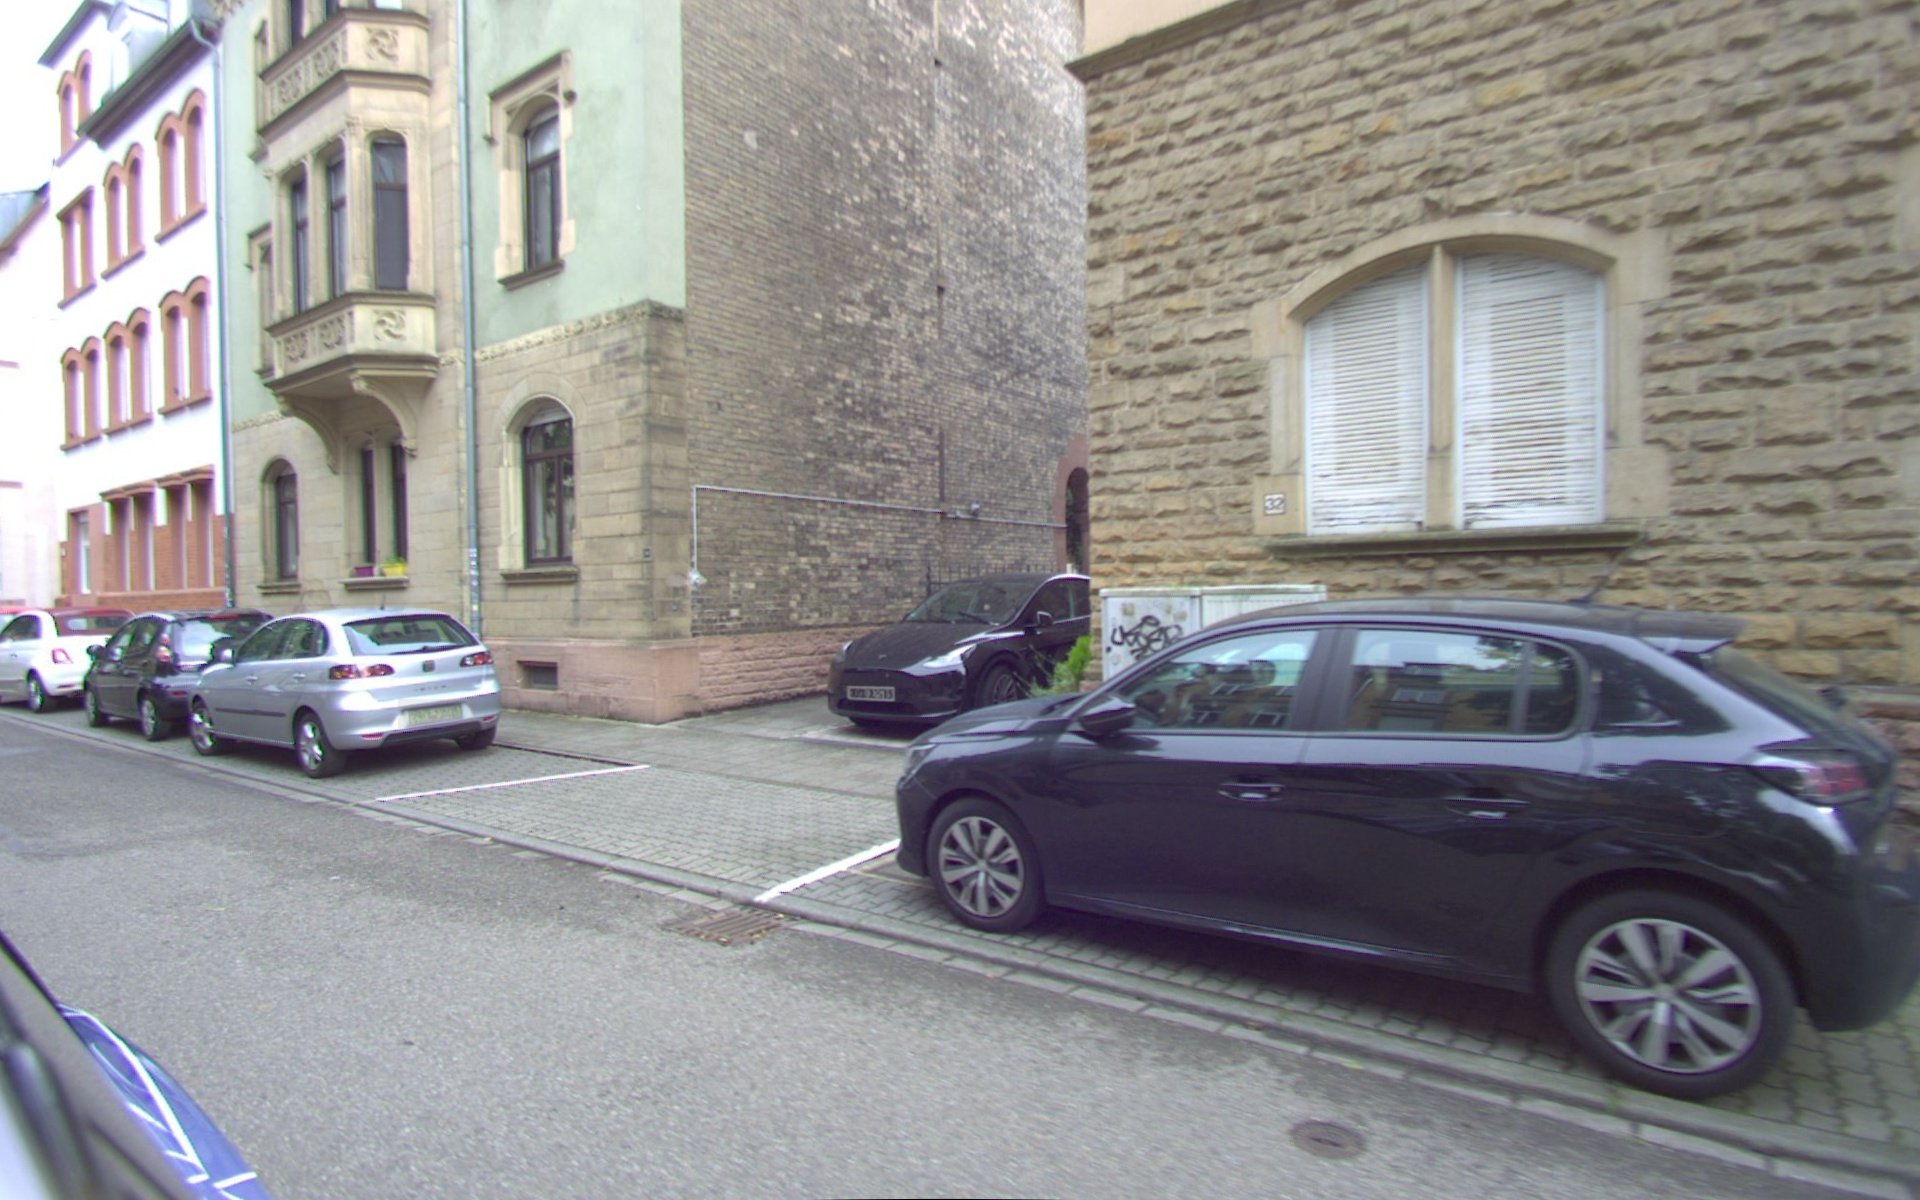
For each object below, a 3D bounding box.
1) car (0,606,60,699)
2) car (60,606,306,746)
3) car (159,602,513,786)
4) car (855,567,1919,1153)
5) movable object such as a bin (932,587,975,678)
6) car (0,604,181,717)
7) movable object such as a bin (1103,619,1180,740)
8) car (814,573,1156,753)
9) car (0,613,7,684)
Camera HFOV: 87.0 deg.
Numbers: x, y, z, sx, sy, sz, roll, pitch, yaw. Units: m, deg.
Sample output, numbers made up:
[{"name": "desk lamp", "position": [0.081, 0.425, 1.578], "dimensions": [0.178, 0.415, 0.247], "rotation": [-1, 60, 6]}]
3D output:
[{"name": "car", "position": [-17.785, 0.946, 18.347], "dimensions": [3.561, 1.541, 1.452], "rotation": [-1, 1, 36]}, {"name": "car", "position": [-9.731, 0.861, 12.614], "dimensions": [3.449, 1.444, 1.503], "rotation": [-1, 1, 37]}, {"name": "car", "position": [-6.263, 0.812, 10.036], "dimensions": [3.801, 1.444, 1.576], "rotation": [-2, 1, 35]}, {"name": "car", "position": [1.584, 0.672, 4.245], "dimensions": [3.875, 1.444, 1.712], "rotation": [-1, 1, 37]}, {"name": "movable object such as a bin", "position": [-0.096, 0.493, 15.428], "dimensions": [0.475, 1.357, 0.411], "rotation": [-1, 0, 37]}, {"name": "car", "position": [-13.828, 0.877, 15.670], "dimensions": [3.542, 1.522, 1.654], "rotation": [-1, 1, 32]}, {"name": "movable object such as a bin", "position": [1.687, 0.720, 9.416], "dimensions": [0.550, 1.070, 0.435], "rotation": [-1, 0, 37]}, {"name": "car", "position": [0.452, 0.531, 10.960], "dimensions": [1.764, 1.576, 3.951], "rotation": [-1, 0, 36]}, {"name": "car", "position": [-21.128, 1.035, 20.857], "dimensions": [3.910, 1.427, 1.452], "rotation": [-1, 1, 36]}]
